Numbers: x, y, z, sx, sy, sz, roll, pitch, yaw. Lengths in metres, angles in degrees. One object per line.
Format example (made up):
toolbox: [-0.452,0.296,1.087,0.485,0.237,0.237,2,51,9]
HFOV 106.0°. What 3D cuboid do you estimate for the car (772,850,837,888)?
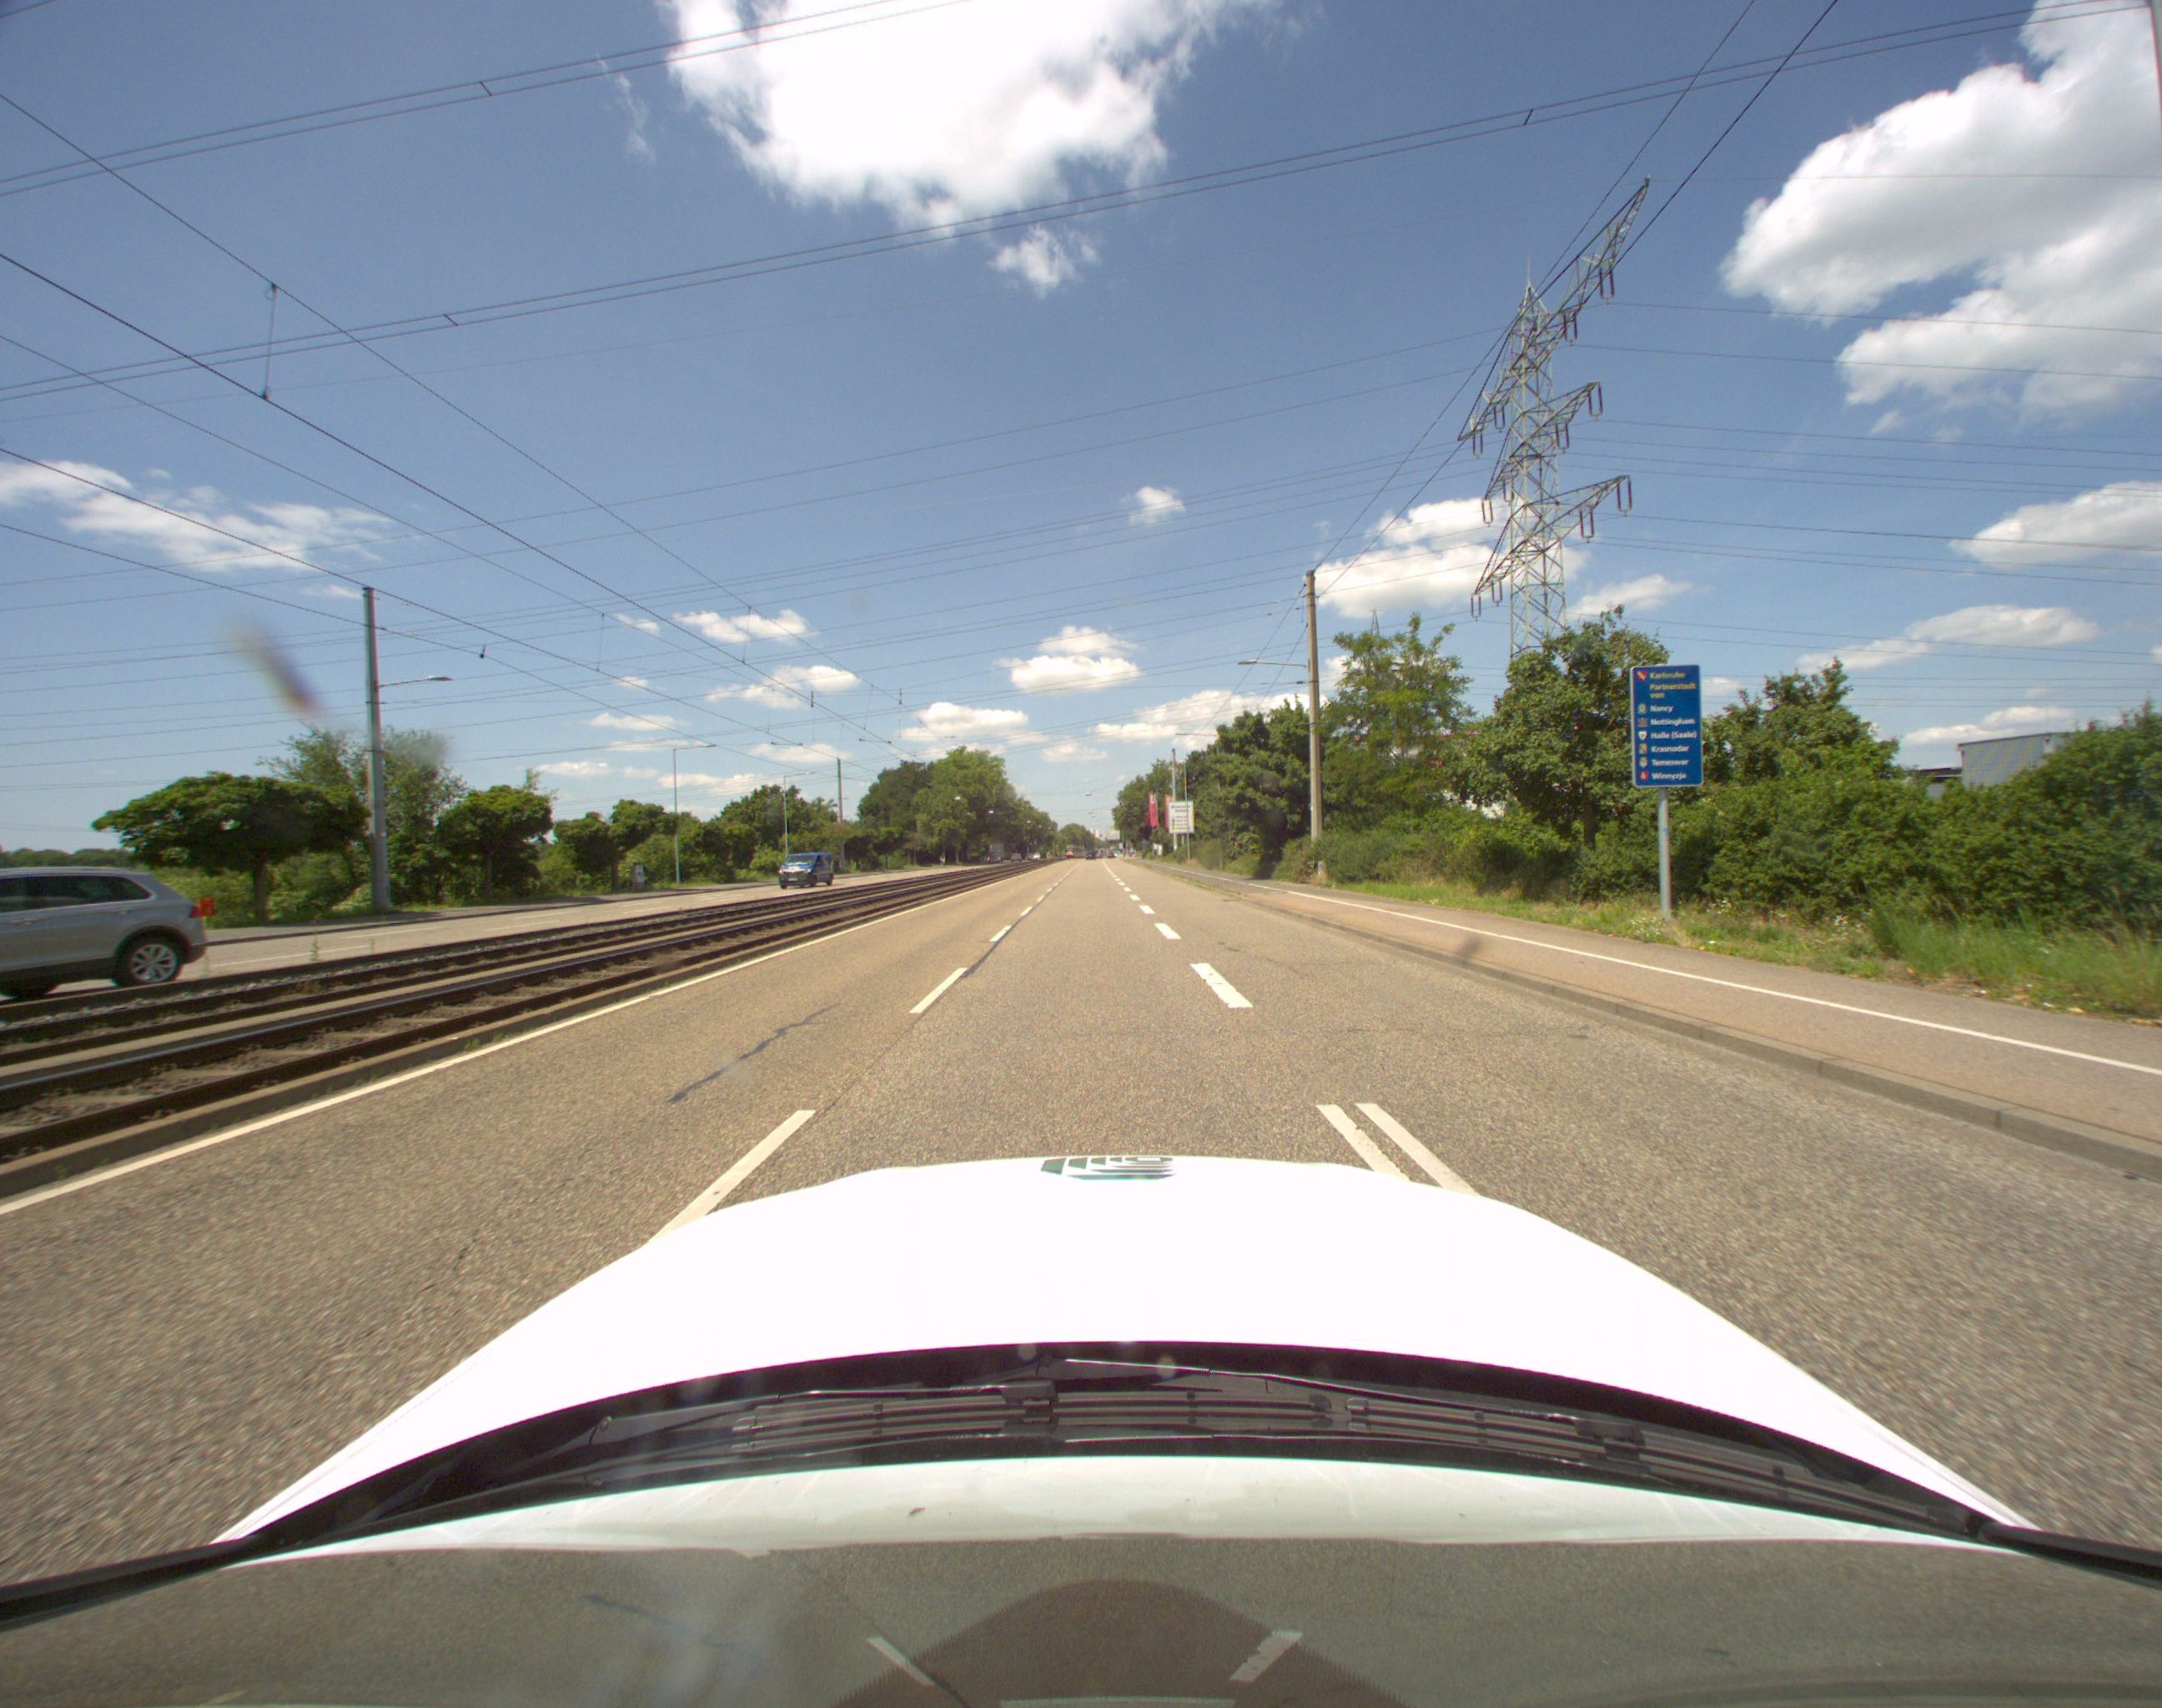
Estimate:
car: [-15.595,0.810,46.270,1.851,1.927,5.008,-3,0,1]

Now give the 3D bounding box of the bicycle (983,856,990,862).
bicycle: [-16.656,0.843,143.574,0.619,0.979,2.059,1,0,7]

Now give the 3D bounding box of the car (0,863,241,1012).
car: [-13.031,1.002,9.449,1.795,1.625,4.494,-3,0,0]

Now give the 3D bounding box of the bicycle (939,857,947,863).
bicycle: [-18.734,0.839,110.682,0.647,0.859,2.123,0,0,5]

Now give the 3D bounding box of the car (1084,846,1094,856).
car: [1.458,-0.553,147.752,1.893,1.805,3.976,0,0,1]

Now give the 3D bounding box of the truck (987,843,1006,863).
truck: [-14.102,-0.139,135.939,2.241,3.236,6.045,-2,0,2]

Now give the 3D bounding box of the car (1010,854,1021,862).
car: [-12.673,0.726,158.060,1.747,1.535,3.956,-3,0,0]

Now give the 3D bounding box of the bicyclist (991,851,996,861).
bicyclist: [-15.421,0.347,143.411,0.619,1.617,1.064,0,0,7]

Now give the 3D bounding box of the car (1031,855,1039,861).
car: [-11.599,1.087,205.656,1.631,1.436,3.721,-3,0,0]

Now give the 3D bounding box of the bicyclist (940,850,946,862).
bicyclist: [-18.744,0.330,110.587,0.648,1.620,1.157,0,0,4]

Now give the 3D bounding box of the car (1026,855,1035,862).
car: [-11.653,0.973,186.880,1.630,1.421,4.129,-3,0,2]

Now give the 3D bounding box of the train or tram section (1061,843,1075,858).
train or tram section: [-3.792,-1.083,240.303,3.036,4.267,15.431,-2,0,2]
